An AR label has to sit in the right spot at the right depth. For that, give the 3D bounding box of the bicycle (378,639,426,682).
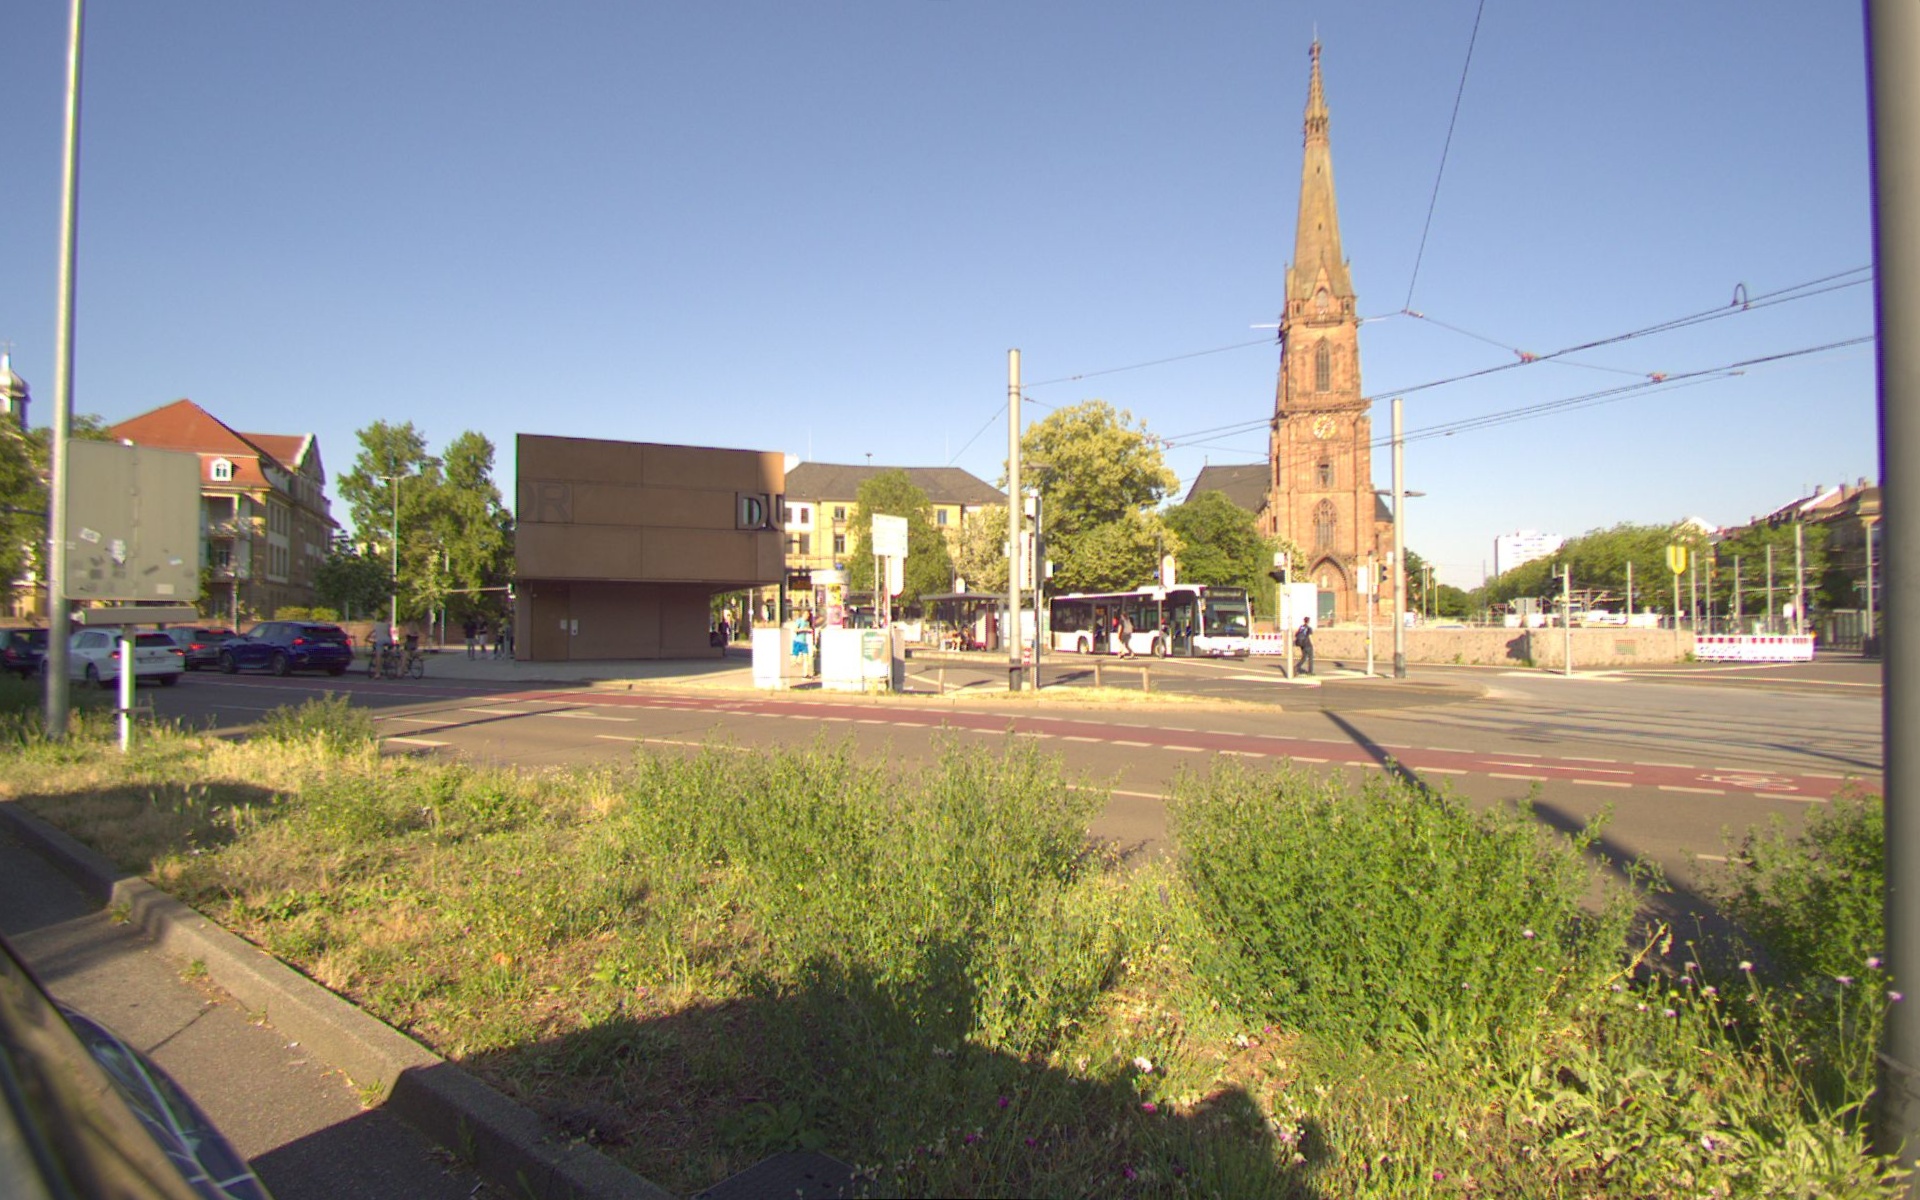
[{"bbox_3d":[-16.120,1.734,29.257,1.388,1.201,0.461,-1,0,24],"label":"bicycle"}]

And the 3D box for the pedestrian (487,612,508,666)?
[{"bbox_3d":[-17.702,1.474,38.738,0.645,2.029,0.470,-1,0,-29],"label":"pedestrian"}]

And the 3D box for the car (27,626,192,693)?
[{"bbox_3d":[-21.502,1.450,25.557,4.375,1.503,1.831,-1,0,30],"label":"car"}]

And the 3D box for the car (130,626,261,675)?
[{"bbox_3d":[-25.070,1.651,33.169,4.375,1.503,1.831,-1,-4,30],"label":"car"}]

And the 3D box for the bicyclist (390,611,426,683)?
[{"bbox_3d":[-15.887,1.338,29.144,0.705,2.029,0.605,-1,-2,25],"label":"bicyclist"}]

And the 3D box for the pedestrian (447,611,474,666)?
[{"bbox_3d":[-18.946,1.457,38.360,0.765,2.029,0.775,-1,0,-37],"label":"pedestrian"}]

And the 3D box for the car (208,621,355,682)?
[{"bbox_3d":[-20.131,1.472,30.026,4.165,1.703,1.741,-1,-1,26],"label":"car"}]

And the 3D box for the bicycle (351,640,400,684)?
[{"bbox_3d":[-16.517,1.739,28.577,1.388,1.201,0.461,-1,0,24],"label":"bicycle"}]

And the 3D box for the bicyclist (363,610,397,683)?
[{"bbox_3d":[-16.354,1.307,28.548,0.562,2.029,0.605,-1,-2,25],"label":"bicyclist"}]

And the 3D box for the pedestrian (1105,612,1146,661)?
[{"bbox_3d":[5.890,1.288,35.997,1.025,1.696,1.007,-1,0,-25],"label":"pedestrian"}]

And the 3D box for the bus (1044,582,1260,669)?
[{"bbox_3d":[7.676,0.960,43.279,2.655,3.174,12.216,-1,0,-23],"label":"bus"}]

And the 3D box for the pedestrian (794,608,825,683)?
[{"bbox_3d":[-3.913,1.167,26.274,0.787,1.911,0.612,0,-2,-9],"label":"pedestrian"}]

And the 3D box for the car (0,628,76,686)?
[{"bbox_3d":[-26.967,1.568,28.623,4.173,1.471,1.739,-1,0,30],"label":"car"}]

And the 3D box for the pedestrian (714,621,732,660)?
[{"bbox_3d":[-12.537,2.154,53.555,0.762,2.029,0.778,-1,0,-2],"label":"pedestrian"}]

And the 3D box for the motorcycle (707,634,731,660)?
[{"bbox_3d":[-10.012,1.948,42.112,0.935,1.075,0.331,-1,0,-11],"label":"motorcycle"}]

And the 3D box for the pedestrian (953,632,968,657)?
[{"bbox_3d":[0.007,2.185,49.990,0.531,1.196,0.660,-1,0,-21],"label":"pedestrian"}]

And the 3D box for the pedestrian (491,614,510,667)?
[{"bbox_3d":[-18.009,1.572,39.666,0.645,2.029,0.470,-1,0,-29],"label":"pedestrian"}]

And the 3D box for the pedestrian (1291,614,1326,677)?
[{"bbox_3d":[9.922,1.284,28.817,0.702,1.771,0.584,-1,0,-30],"label":"pedestrian"}]
